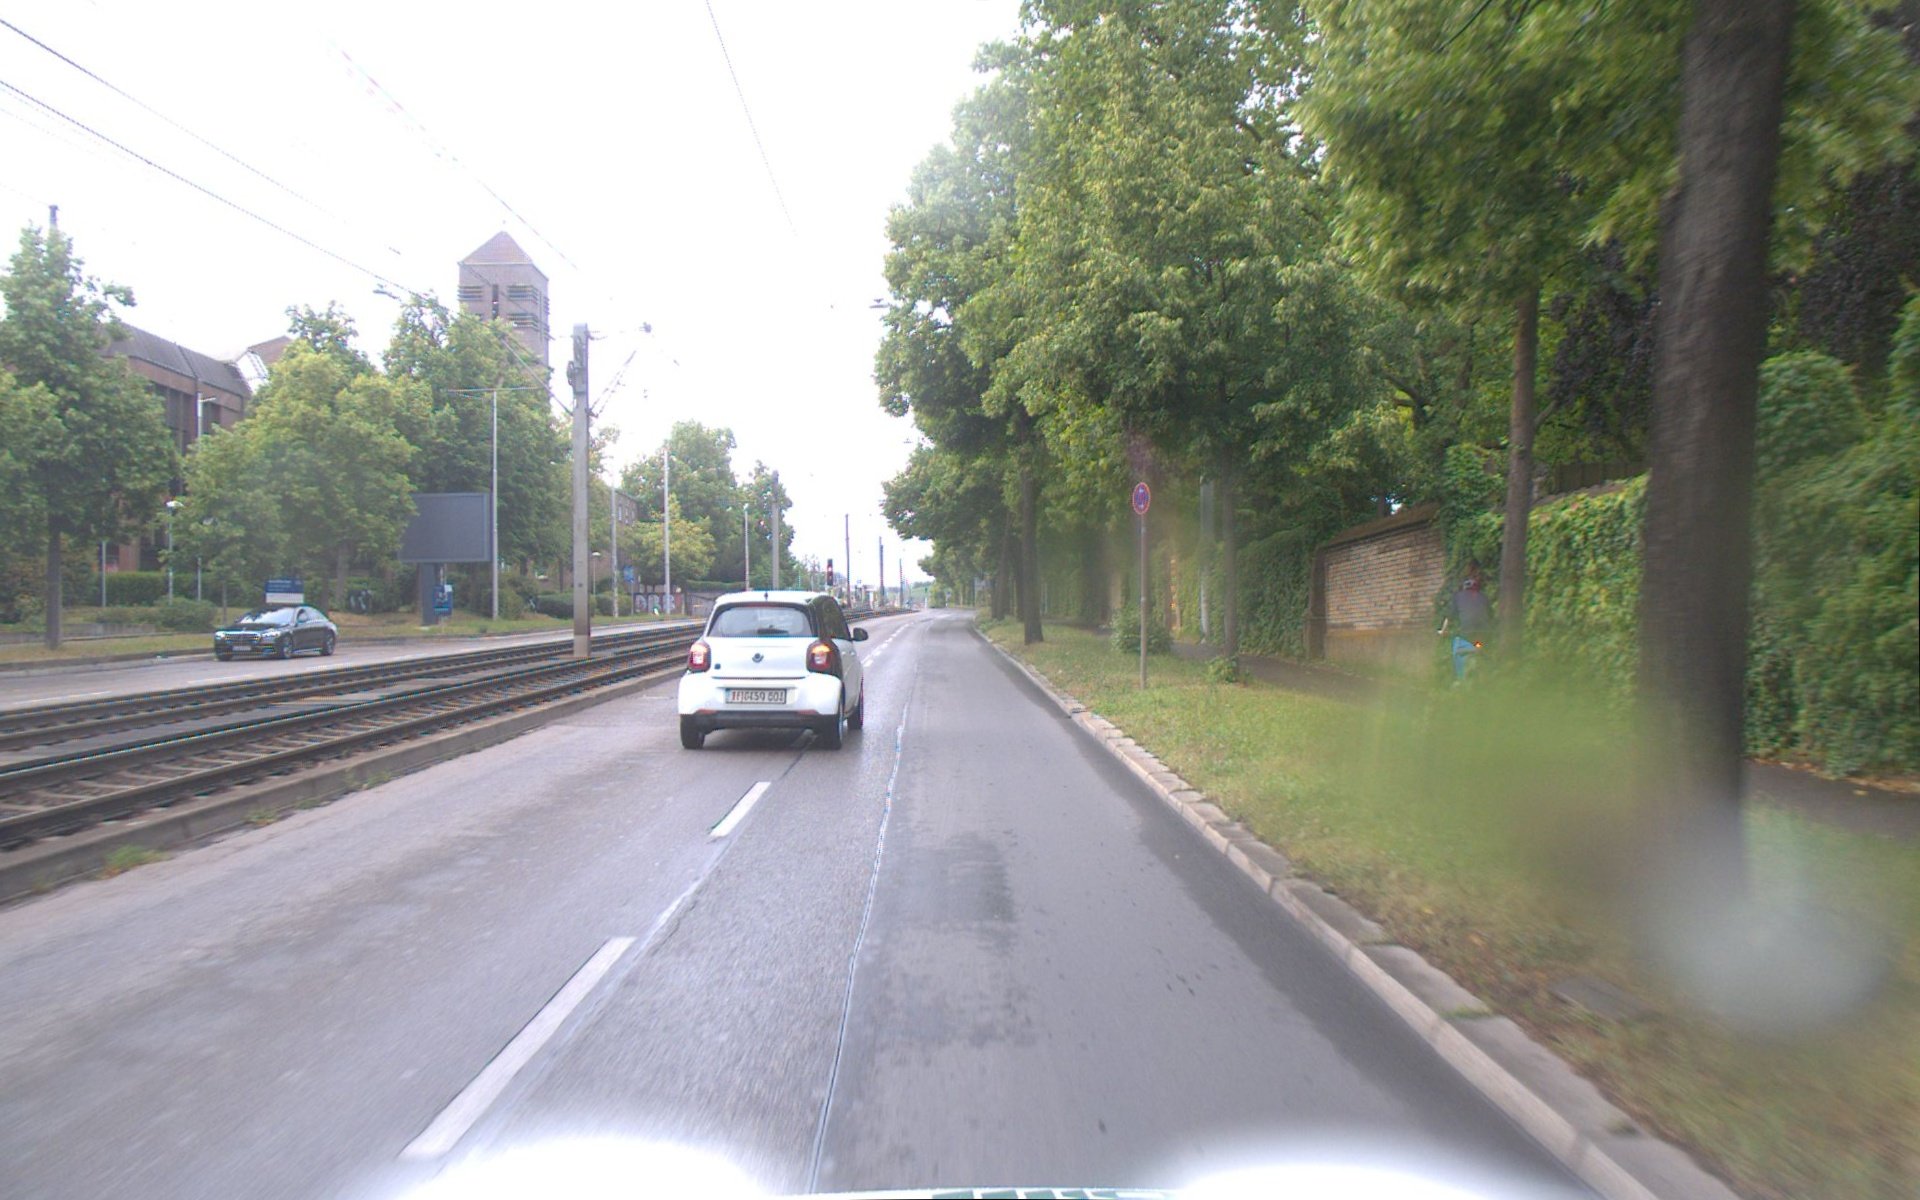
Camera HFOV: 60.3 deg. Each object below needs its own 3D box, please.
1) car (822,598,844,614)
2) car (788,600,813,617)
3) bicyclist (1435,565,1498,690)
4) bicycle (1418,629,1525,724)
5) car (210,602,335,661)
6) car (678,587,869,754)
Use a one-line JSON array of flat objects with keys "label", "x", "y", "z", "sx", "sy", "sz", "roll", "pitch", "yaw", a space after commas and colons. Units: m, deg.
[{"label": "car", "x": -13.371, "y": 0.617, "z": 174.777, "sx": 1.796, "sy": 1.685, "sz": 4.241, "roll": -1, "pitch": 0, "yaw": 3}, {"label": "car", "x": -16.698, "y": 0.908, "z": 173.165, "sx": 1.971, "sy": 1.685, "sz": 4.618, "roll": -1, "pitch": 0, "yaw": 3}, {"label": "bicyclist", "x": 5.854, "y": 0.314, "z": 19.148, "sx": 0.524, "sy": 1.414, "sz": 0.666, "roll": -1, "pitch": 0, "yaw": 2}, {"label": "bicycle", "x": 5.863, "y": 0.844, "z": 19.108, "sx": 0.531, "sy": 0.964, "sz": 2.550, "roll": -1, "pitch": 0, "yaw": 2}, {"label": "car", "x": -19.486, "y": 0.859, "z": 47.071, "sx": 1.758, "sy": 1.557, "sz": 4.620, "roll": -1, "pitch": 0, "yaw": -2}, {"label": "car", "x": -1.883, "y": 0.666, "z": 17.668, "sx": 1.642, "sy": 1.557, "sz": 3.721, "roll": -1, "pitch": 0, "yaw": -1}]
